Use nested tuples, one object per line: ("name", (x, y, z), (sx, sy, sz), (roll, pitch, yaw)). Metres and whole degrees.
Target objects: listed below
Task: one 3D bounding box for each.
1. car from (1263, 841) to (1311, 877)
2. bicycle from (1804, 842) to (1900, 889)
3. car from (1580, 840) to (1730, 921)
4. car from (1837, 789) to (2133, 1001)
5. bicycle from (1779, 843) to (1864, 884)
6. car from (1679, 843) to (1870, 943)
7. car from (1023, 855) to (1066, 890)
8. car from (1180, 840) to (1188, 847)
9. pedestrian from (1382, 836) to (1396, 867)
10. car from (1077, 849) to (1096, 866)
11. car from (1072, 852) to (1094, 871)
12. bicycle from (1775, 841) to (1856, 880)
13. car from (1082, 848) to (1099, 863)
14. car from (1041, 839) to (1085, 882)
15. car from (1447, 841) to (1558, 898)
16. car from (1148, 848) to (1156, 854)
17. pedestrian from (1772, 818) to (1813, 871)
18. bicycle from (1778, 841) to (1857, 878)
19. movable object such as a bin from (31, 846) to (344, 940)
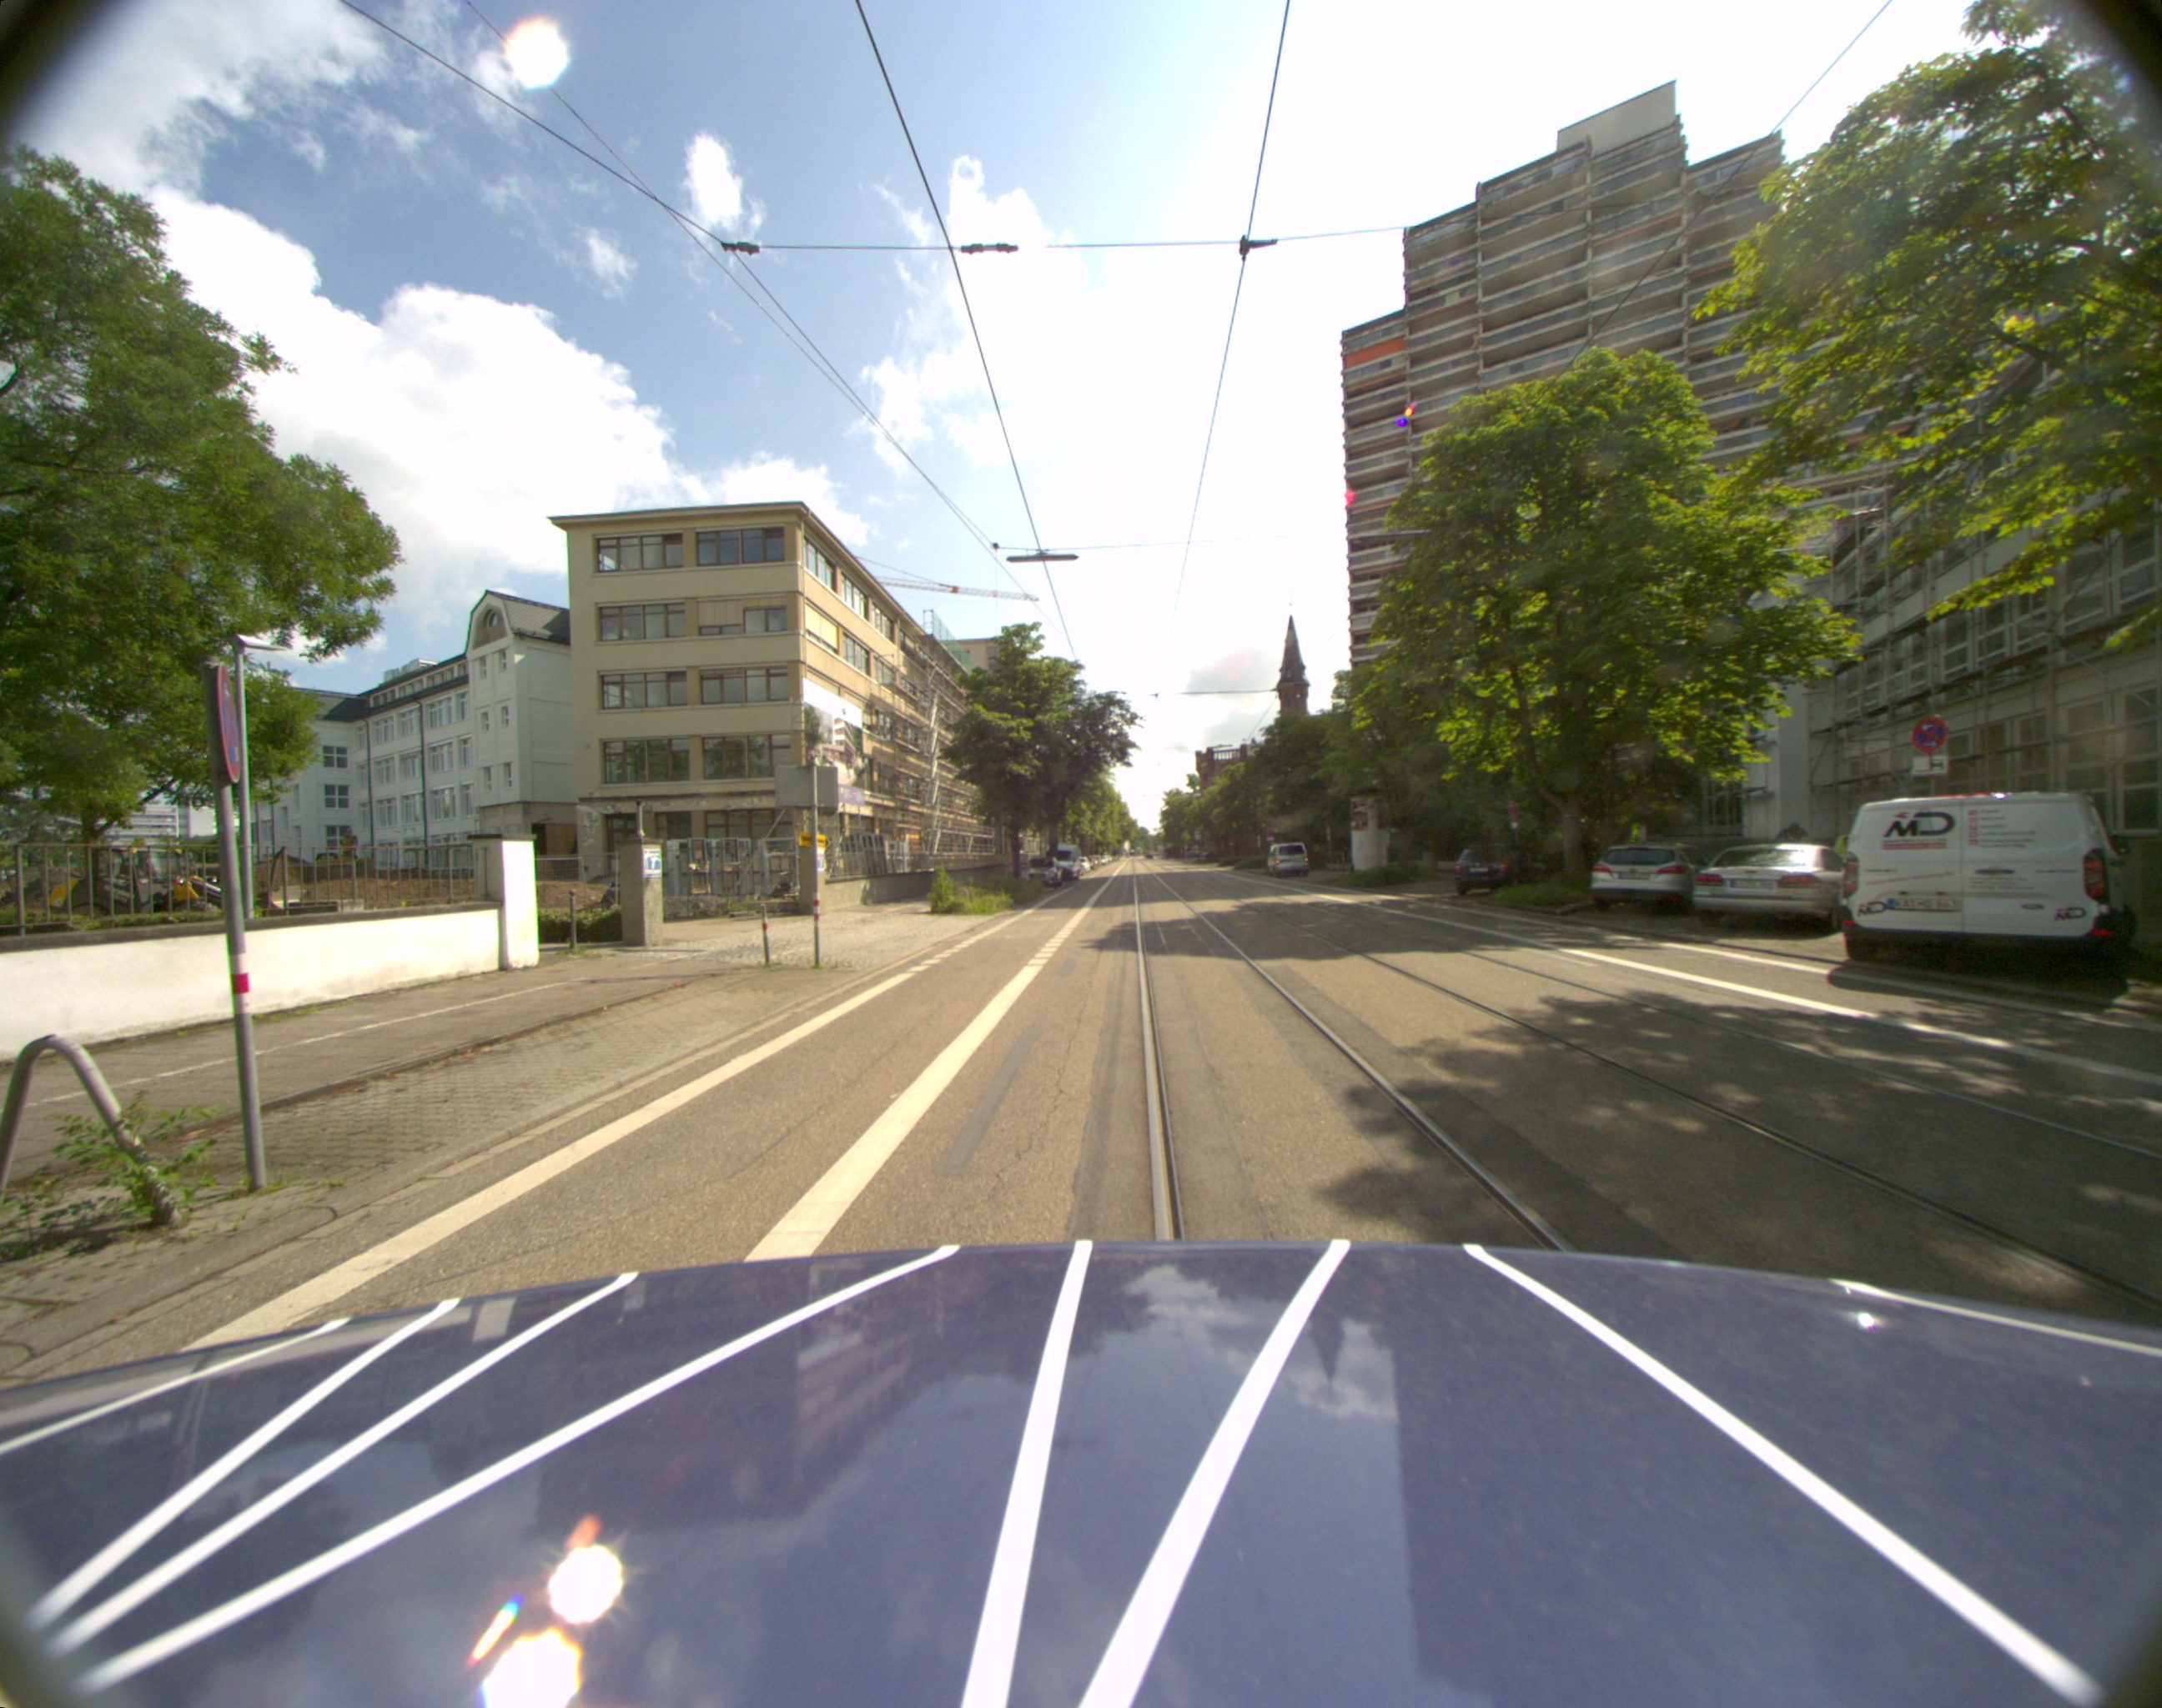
("car", (12.069, 0.240, 44.702), (1.891, 1.840, 4.237), (-5, 1, 5))
("bicycle", (19.372, 0.301, 19.135), (1.576, 1.155, 0.543), (-2, -2, 28))
("car", (12.593, 0.497, 16.574), (4.201, 1.492, 1.817), (-2, 0, -42))
("car", (11.071, 0.345, 9.303), (4.694, 1.986, 1.963), (-2, 1, -38))
("bicycle", (20.547, 0.277, 21.108), (1.576, 1.107, 0.543), (-2, -2, 28))
("car", (12.272, 0.572, 13.357), (4.179, 1.441, 1.817), (-2, 0, -38))
("car", (-1.883, 0.949, 40.748), (1.749, 1.597, 4.237), (-5, 1, 3))
("car", (24.807, -2.548, 182.737), (1.628, 1.565, 3.952), (1, 1, 4))
("pedestrian", (18.086, -0.137, 44.633), (0.524, 1.745, 0.635), (-3, 3, 10))
("car", (0.632, 0.323, 81.349), (1.749, 1.597, 4.237), (-5, 1, 3))
("car", (0.197, 0.680, 70.849), (1.749, 1.597, 4.237), (-5, 1, 3))
("bicycle", (21.366, 0.196, 22.129), (1.576, 1.086, 0.543), (-2, -2, 28))
("car", (1.132, 0.162, 92.054), (1.749, 1.597, 4.237), (-5, 1, 3))
("car", (-1.132, 0.391, 51.155), (2.337, 2.545, 5.390), (-5, 1, 3))
("car", (12.778, 0.423, 22.931), (3.893, 1.514, 1.738), (-2, 0, -42))
("car", (19.554, -0.821, 210.568), (1.891, 1.635, 4.237), (-2, 0, 2))
("pedestrian", (22.027, -0.293, 23.534), (0.642, 1.615, 0.661), (-3, 2, -4))
("bicycle", (22.045, 0.172, 22.777), (1.576, 1.074, 0.543), (-2, -2, 28))
("movable object such as a bin", (-24.580, 1.042, 21.201), (5.436, 2.429, 1.998), (0, -1, -15))
